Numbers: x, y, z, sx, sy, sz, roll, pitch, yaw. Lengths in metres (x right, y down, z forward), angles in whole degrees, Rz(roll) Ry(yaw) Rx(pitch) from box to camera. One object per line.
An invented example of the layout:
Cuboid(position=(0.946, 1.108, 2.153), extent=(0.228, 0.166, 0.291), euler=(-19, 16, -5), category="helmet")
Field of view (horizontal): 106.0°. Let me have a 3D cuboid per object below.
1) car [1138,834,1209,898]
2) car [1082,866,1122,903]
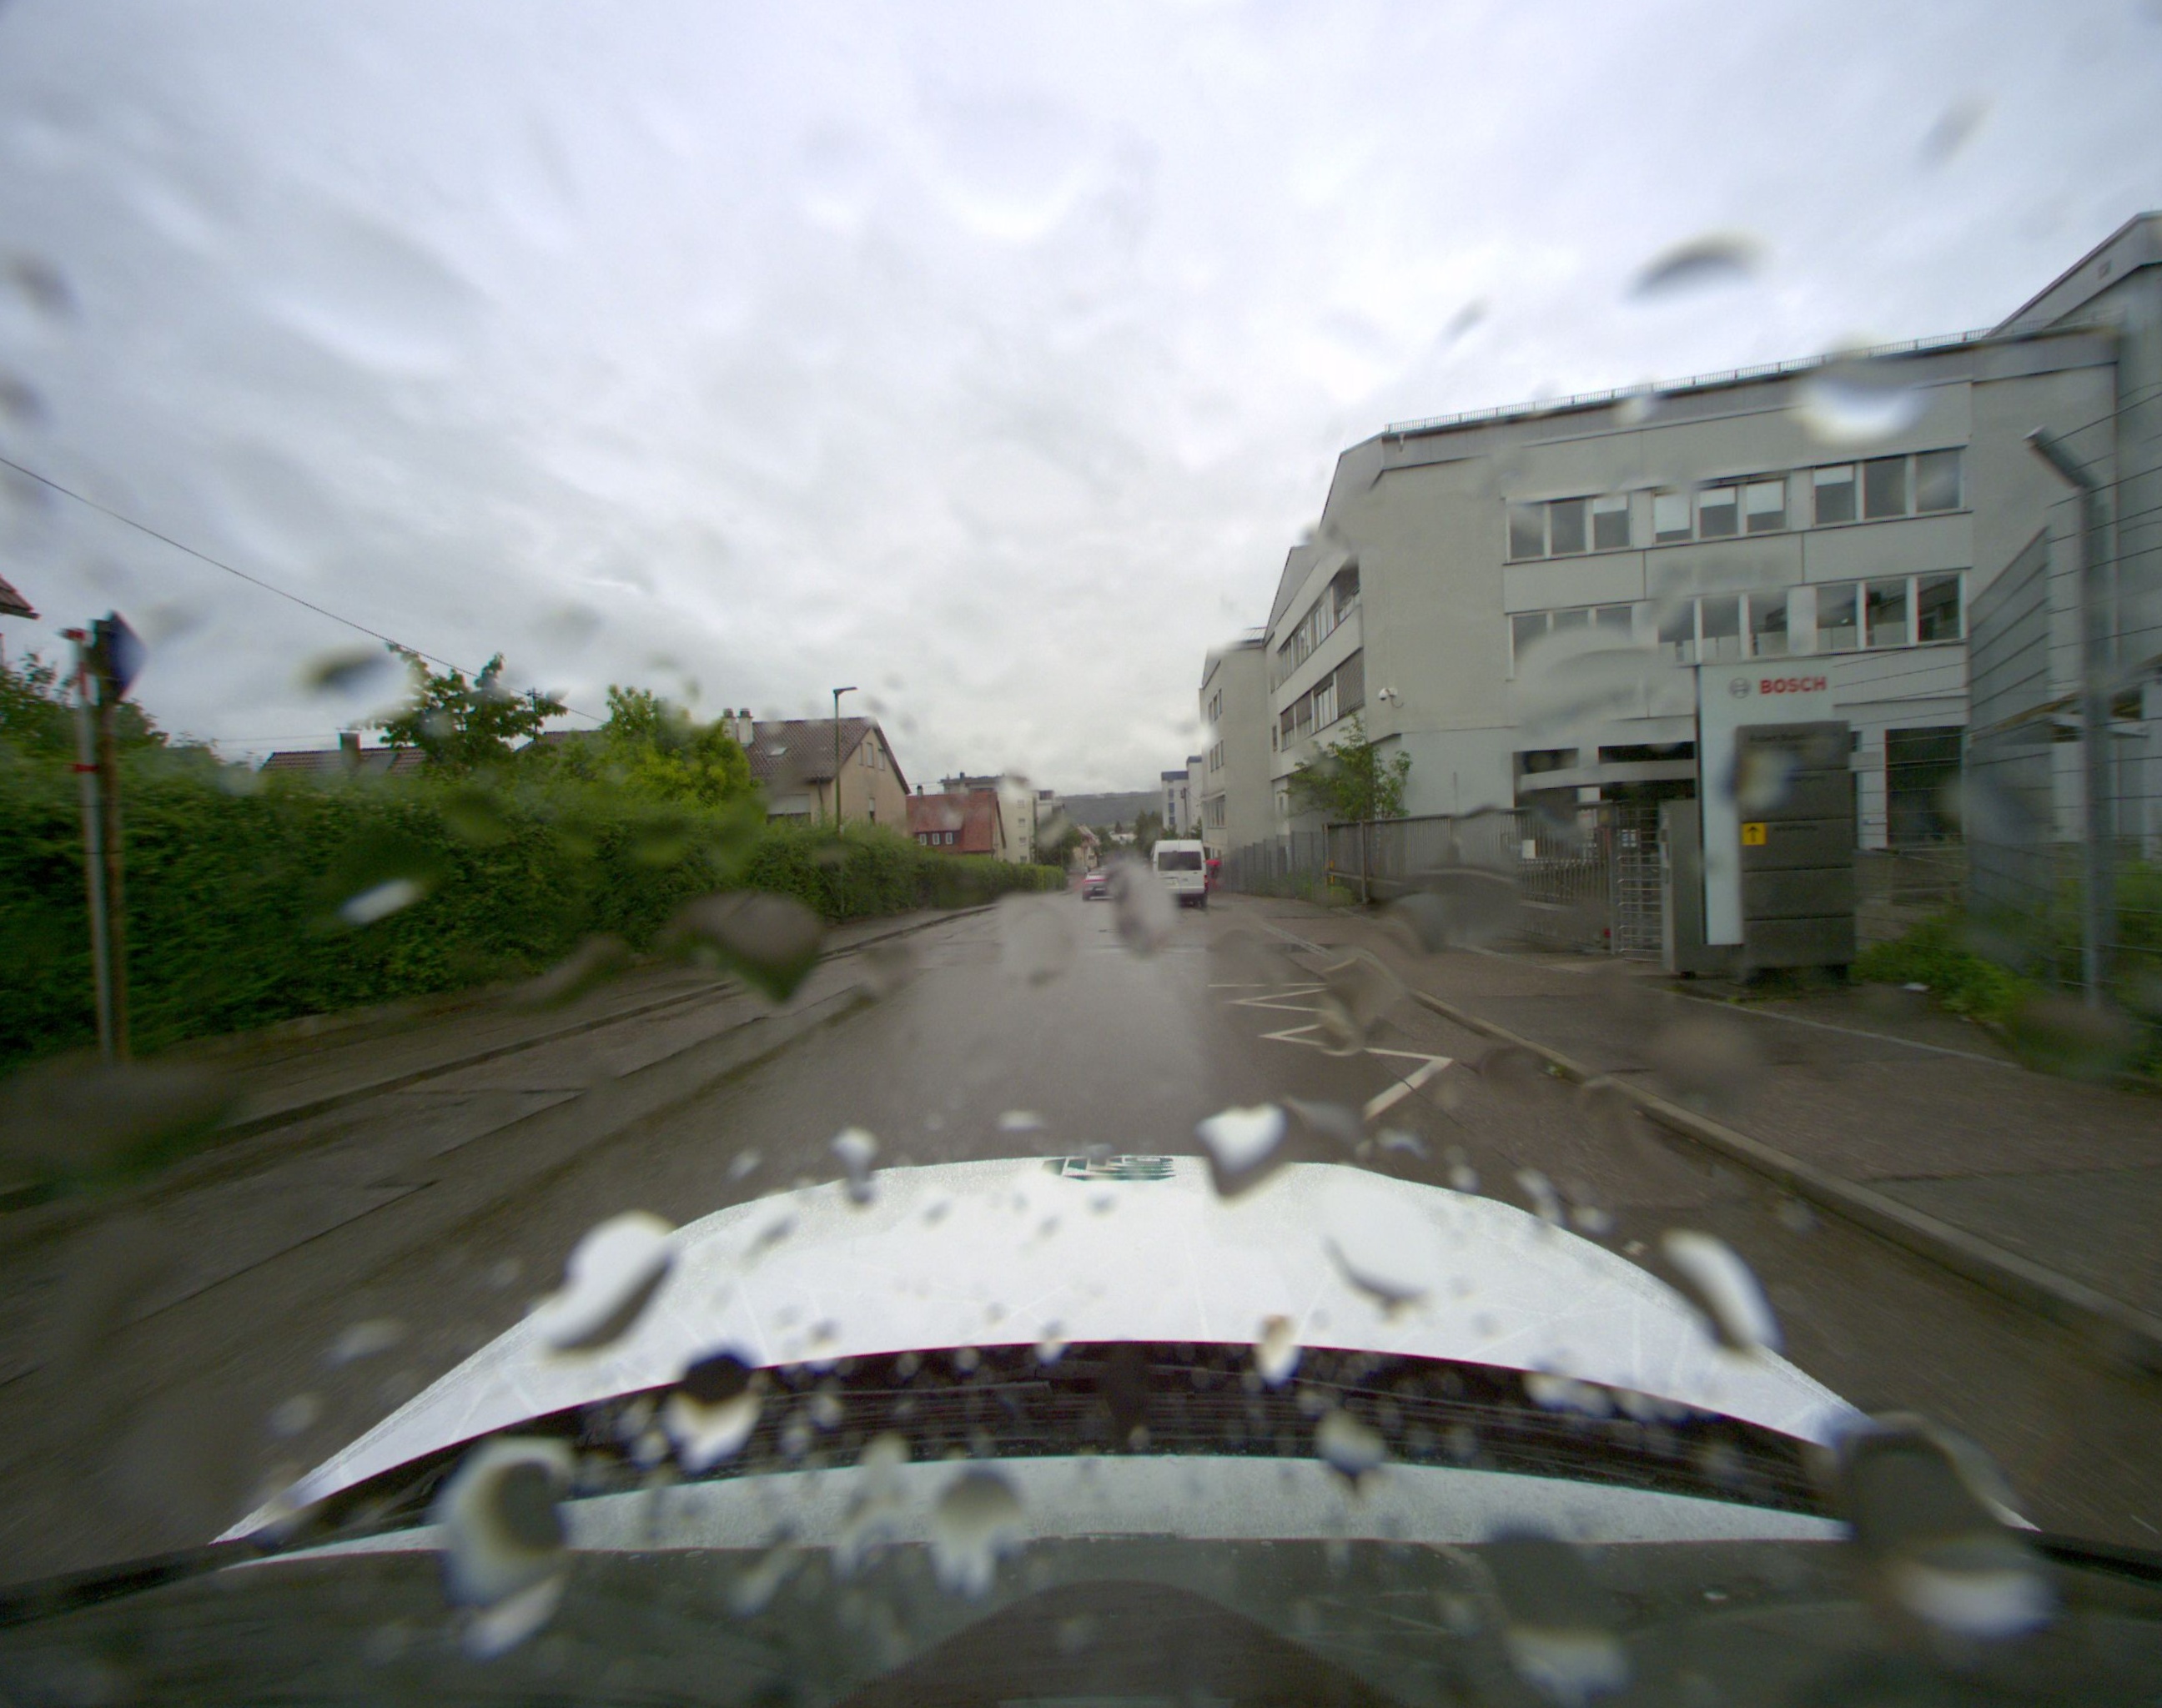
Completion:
Cuboid(position=(3.251, 0.439, 29.346), extent=(1.987, 2.013, 3.999), euler=(-4, -1, 0), category="car")
Cuboid(position=(1.213, 1.647, 45.143), extent=(1.985, 1.501, 4.676), euler=(-2, 3, 3), category="car")
